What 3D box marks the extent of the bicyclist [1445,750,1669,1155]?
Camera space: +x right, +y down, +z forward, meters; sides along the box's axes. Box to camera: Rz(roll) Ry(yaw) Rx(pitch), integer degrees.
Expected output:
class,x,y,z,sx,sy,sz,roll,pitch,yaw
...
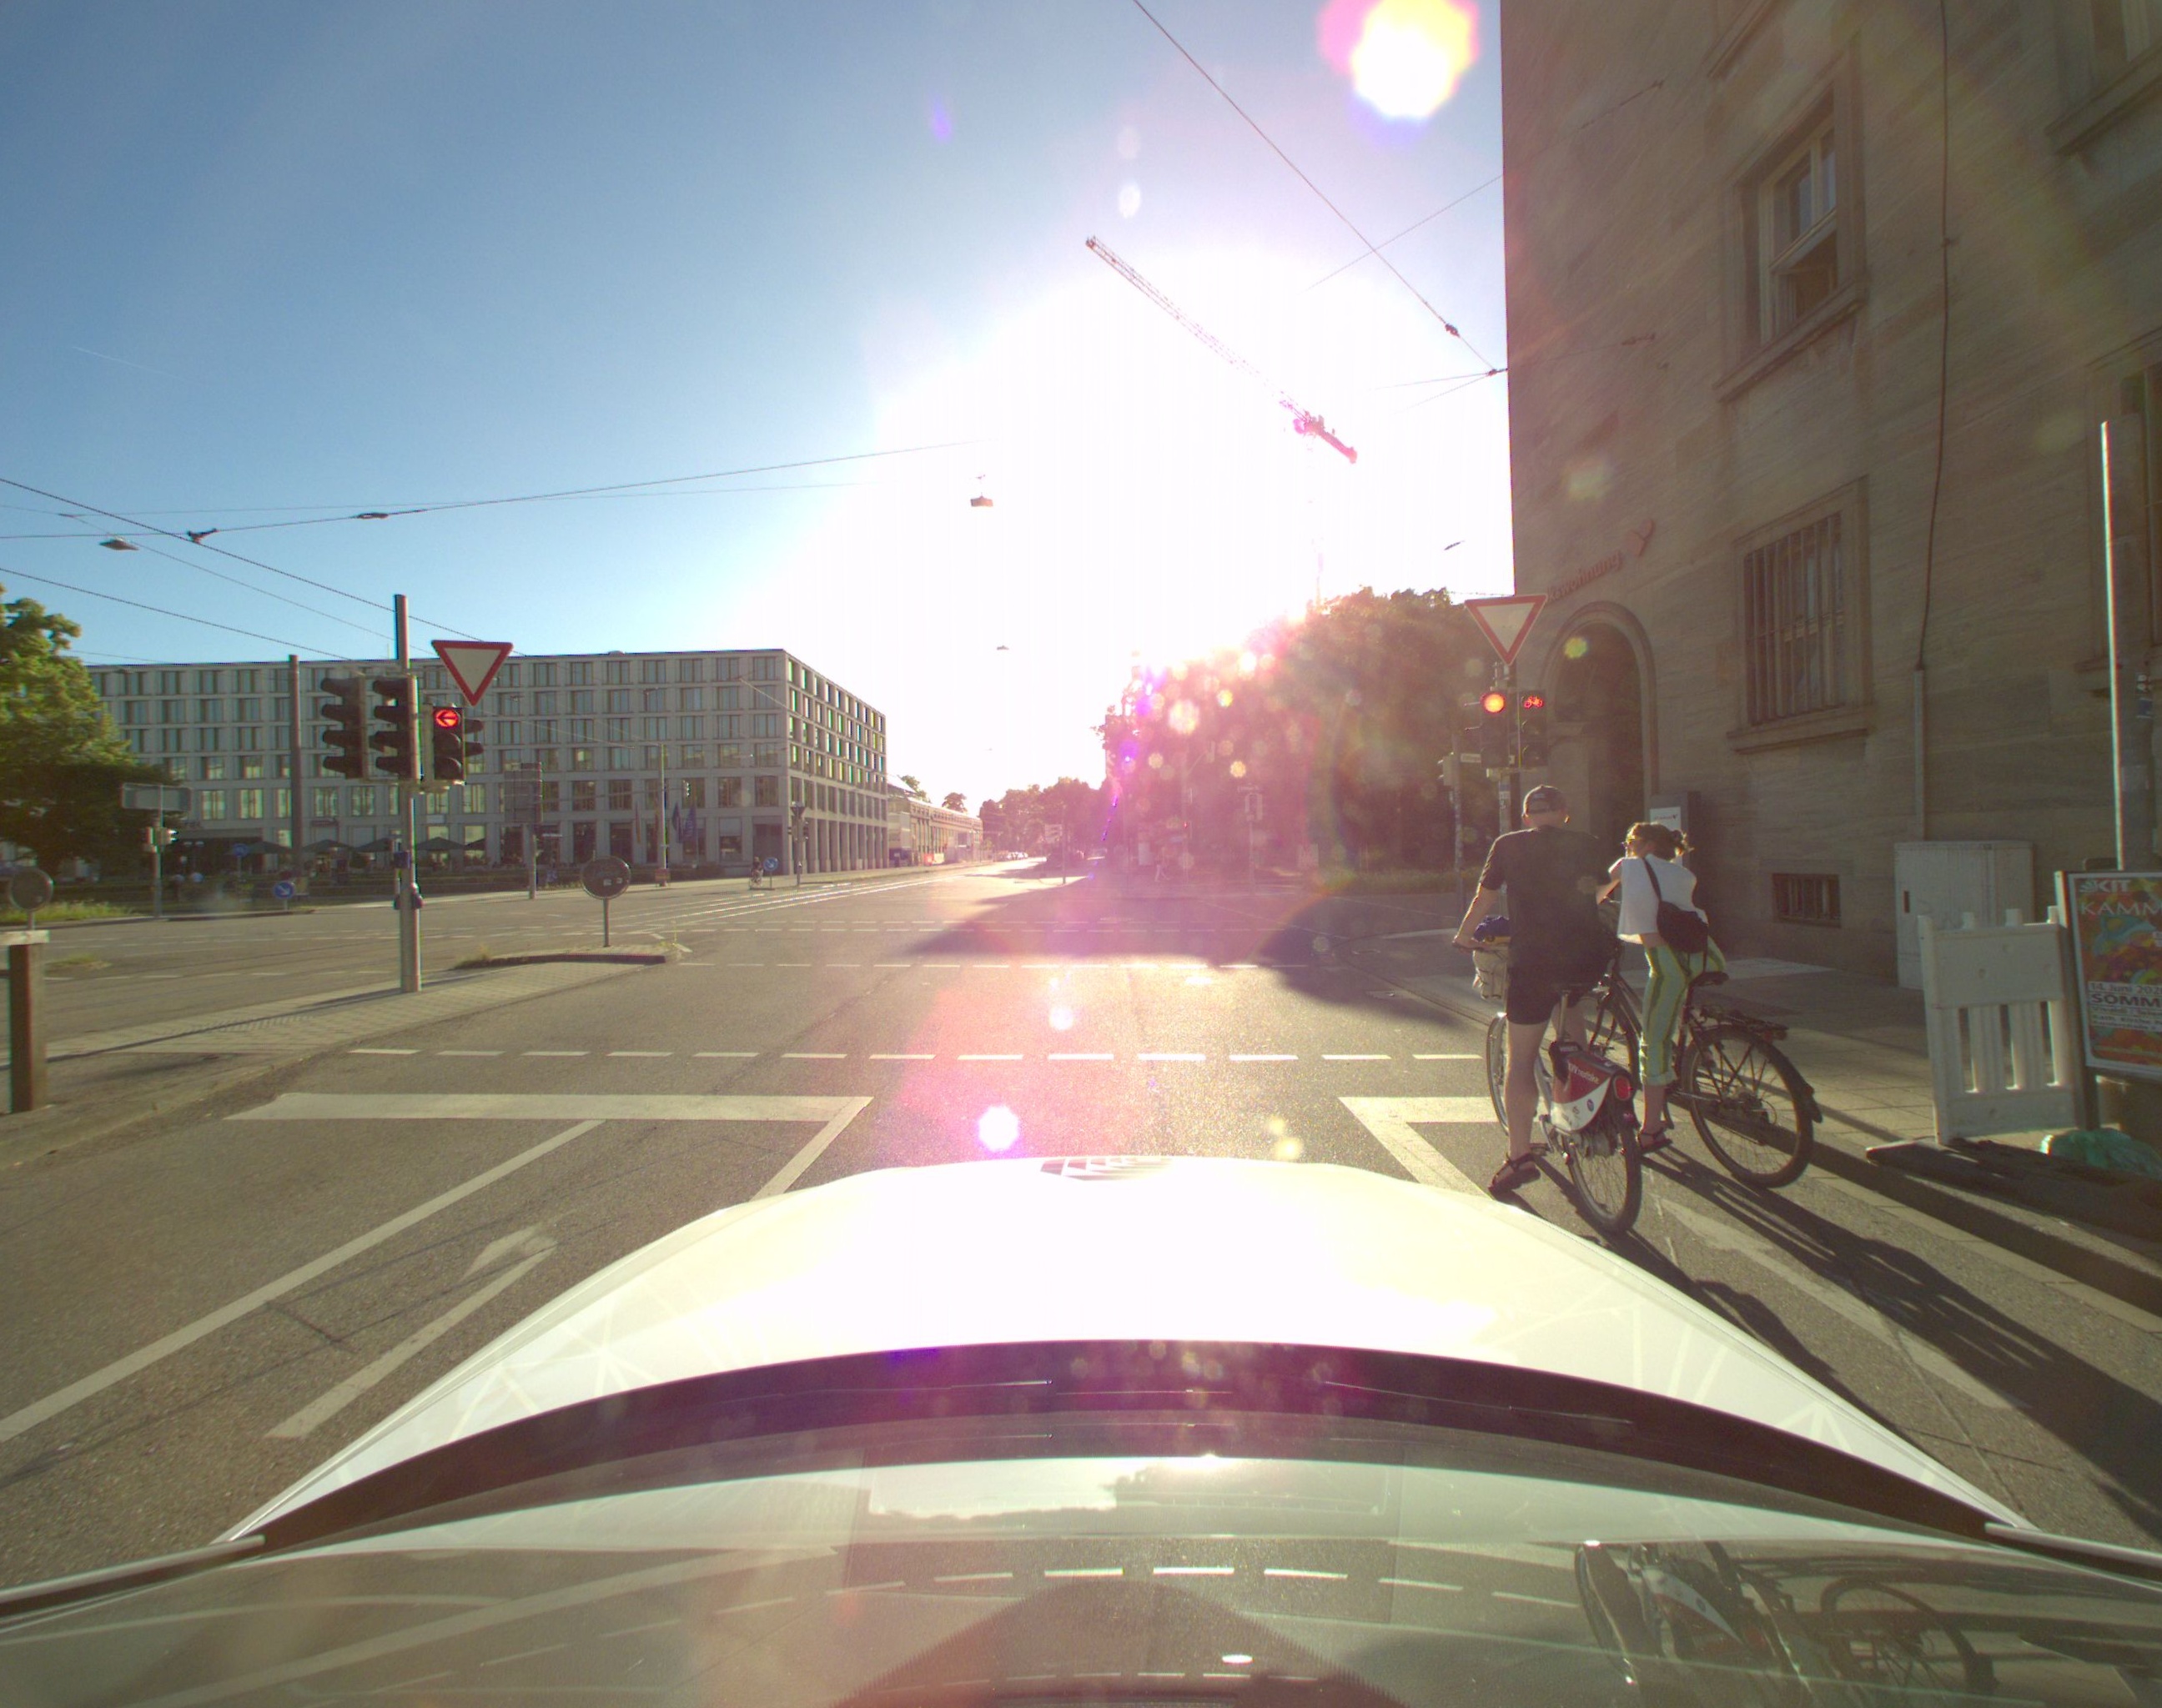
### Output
class,x,y,z,sx,sy,sz,roll,pitch,yaw
bicyclist,2.145,0.417,3.761,0.665,1.678,0.659,-2,0,10

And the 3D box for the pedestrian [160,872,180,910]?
class,x,y,z,sx,sy,sz,roll,pitch,yaw
pedestrian,-48.672,1.964,43.517,0.490,2.013,0.493,-2,0,14

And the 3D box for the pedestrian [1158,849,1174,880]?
class,x,y,z,sx,sy,sz,roll,pitch,yaw
pedestrian,4.624,0.569,44.410,0.792,1.639,0.534,-2,0,4

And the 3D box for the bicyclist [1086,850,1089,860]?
class,x,y,z,sx,sy,sz,roll,pitch,yaw
bicyclist,0.776,0.126,98.632,0.317,1.127,0.291,-2,0,5

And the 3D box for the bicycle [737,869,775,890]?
class,x,y,z,sx,sy,sz,roll,pitch,yaw
bicycle,-19.331,1.475,48.491,0.872,1.121,3.015,-2,0,3

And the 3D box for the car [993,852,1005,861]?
class,x,y,z,sx,sy,sz,roll,pitch,yaw
car,-15.732,0.556,156.575,1.724,1.653,4.002,-2,0,2

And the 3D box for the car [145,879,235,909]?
class,x,y,z,sx,sy,sz,roll,pitch,yaw
car,-46.930,2.101,42.923,3.172,1.438,1.472,-2,0,2

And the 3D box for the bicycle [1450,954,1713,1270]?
class,x,y,z,sx,sy,sz,roll,pitch,yaw
bicycle,2.275,1.065,3.963,0.387,0.905,1.956,-2,0,10

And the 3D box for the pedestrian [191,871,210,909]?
class,x,y,z,sx,sy,sz,roll,pitch,yaw
pedestrian,-48.425,1.973,44.801,0.490,2.013,0.493,-2,0,14

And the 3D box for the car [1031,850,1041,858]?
class,x,y,z,sx,sy,sz,roll,pitch,yaw
car,-11.349,0.096,205.475,1.986,2.014,4.001,0,-1,2

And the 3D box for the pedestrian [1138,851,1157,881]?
class,x,y,z,sx,sy,sz,roll,pitch,yaw
pedestrian,3.568,0.652,43.833,0.980,1.587,0.661,-2,-1,3

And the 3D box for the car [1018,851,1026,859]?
class,x,y,z,sx,sy,sz,roll,pitch,yaw
car,-14.054,0.301,195.204,1.478,1.750,4.002,-2,0,2

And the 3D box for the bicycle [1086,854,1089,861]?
class,x,y,z,sx,sy,sz,roll,pitch,yaw
bicycle,0.755,0.459,98.738,0.323,0.868,1.484,-2,0,2

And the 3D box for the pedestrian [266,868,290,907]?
class,x,y,z,sx,sy,sz,roll,pitch,yaw
pedestrian,-44.001,1.820,44.615,0.648,2.069,0.649,-2,-2,-5

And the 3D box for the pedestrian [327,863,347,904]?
class,x,y,z,sx,sy,sz,roll,pitch,yaw
pedestrian,-42.207,1.667,46.184,0.568,2.280,0.533,-2,0,-5

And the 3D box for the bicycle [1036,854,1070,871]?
class,x,y,z,sx,sy,sz,roll,pitch,yaw
bicycle,-2.330,0.723,67.372,2.728,1.367,0.633,-1,-1,12

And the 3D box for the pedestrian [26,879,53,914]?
class,x,y,z,sx,sy,sz,roll,pitch,yaw
pedestrian,-56.668,2.304,44.313,0.557,1.903,0.684,-2,0,10

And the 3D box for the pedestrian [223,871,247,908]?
class,x,y,z,sx,sy,sz,roll,pitch,yaw
pedestrian,-48.111,2.012,46.311,0.528,2.013,0.800,-2,0,-5

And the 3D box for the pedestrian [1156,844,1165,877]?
class,x,y,z,sx,sy,sz,roll,pitch,yaw
pedestrian,4.391,0.382,44.962,0.358,1.804,0.508,-2,0,14

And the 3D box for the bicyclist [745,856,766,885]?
class,x,y,z,sx,sy,sz,roll,pitch,yaw
bicyclist,-19.326,0.972,48.386,0.872,1.641,0.822,-2,0,3

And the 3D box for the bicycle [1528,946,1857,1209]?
class,x,y,z,sx,sy,sz,roll,pitch,yaw
bicycle,3.094,1.049,4.388,0.424,0.876,1.953,-2,0,5

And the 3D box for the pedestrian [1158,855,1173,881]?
class,x,y,z,sx,sy,sz,roll,pitch,yaw
pedestrian,4.525,0.735,43.710,0.748,1.332,0.744,-2,0,6

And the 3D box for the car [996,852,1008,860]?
class,x,y,z,sx,sy,sz,roll,pitch,yaw
car,-15.555,0.378,160.644,1.724,1.653,4.002,-2,0,2

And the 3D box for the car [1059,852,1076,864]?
class,x,y,z,sx,sy,sz,roll,pitch,yaw
car,-1.484,0.432,92.874,1.814,1.279,3.999,-2,0,0

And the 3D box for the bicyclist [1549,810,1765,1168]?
class,x,y,z,sx,sy,sz,roll,pitch,yaw
bicyclist,2.959,0.640,4.271,0.519,1.679,0.860,-2,0,5
